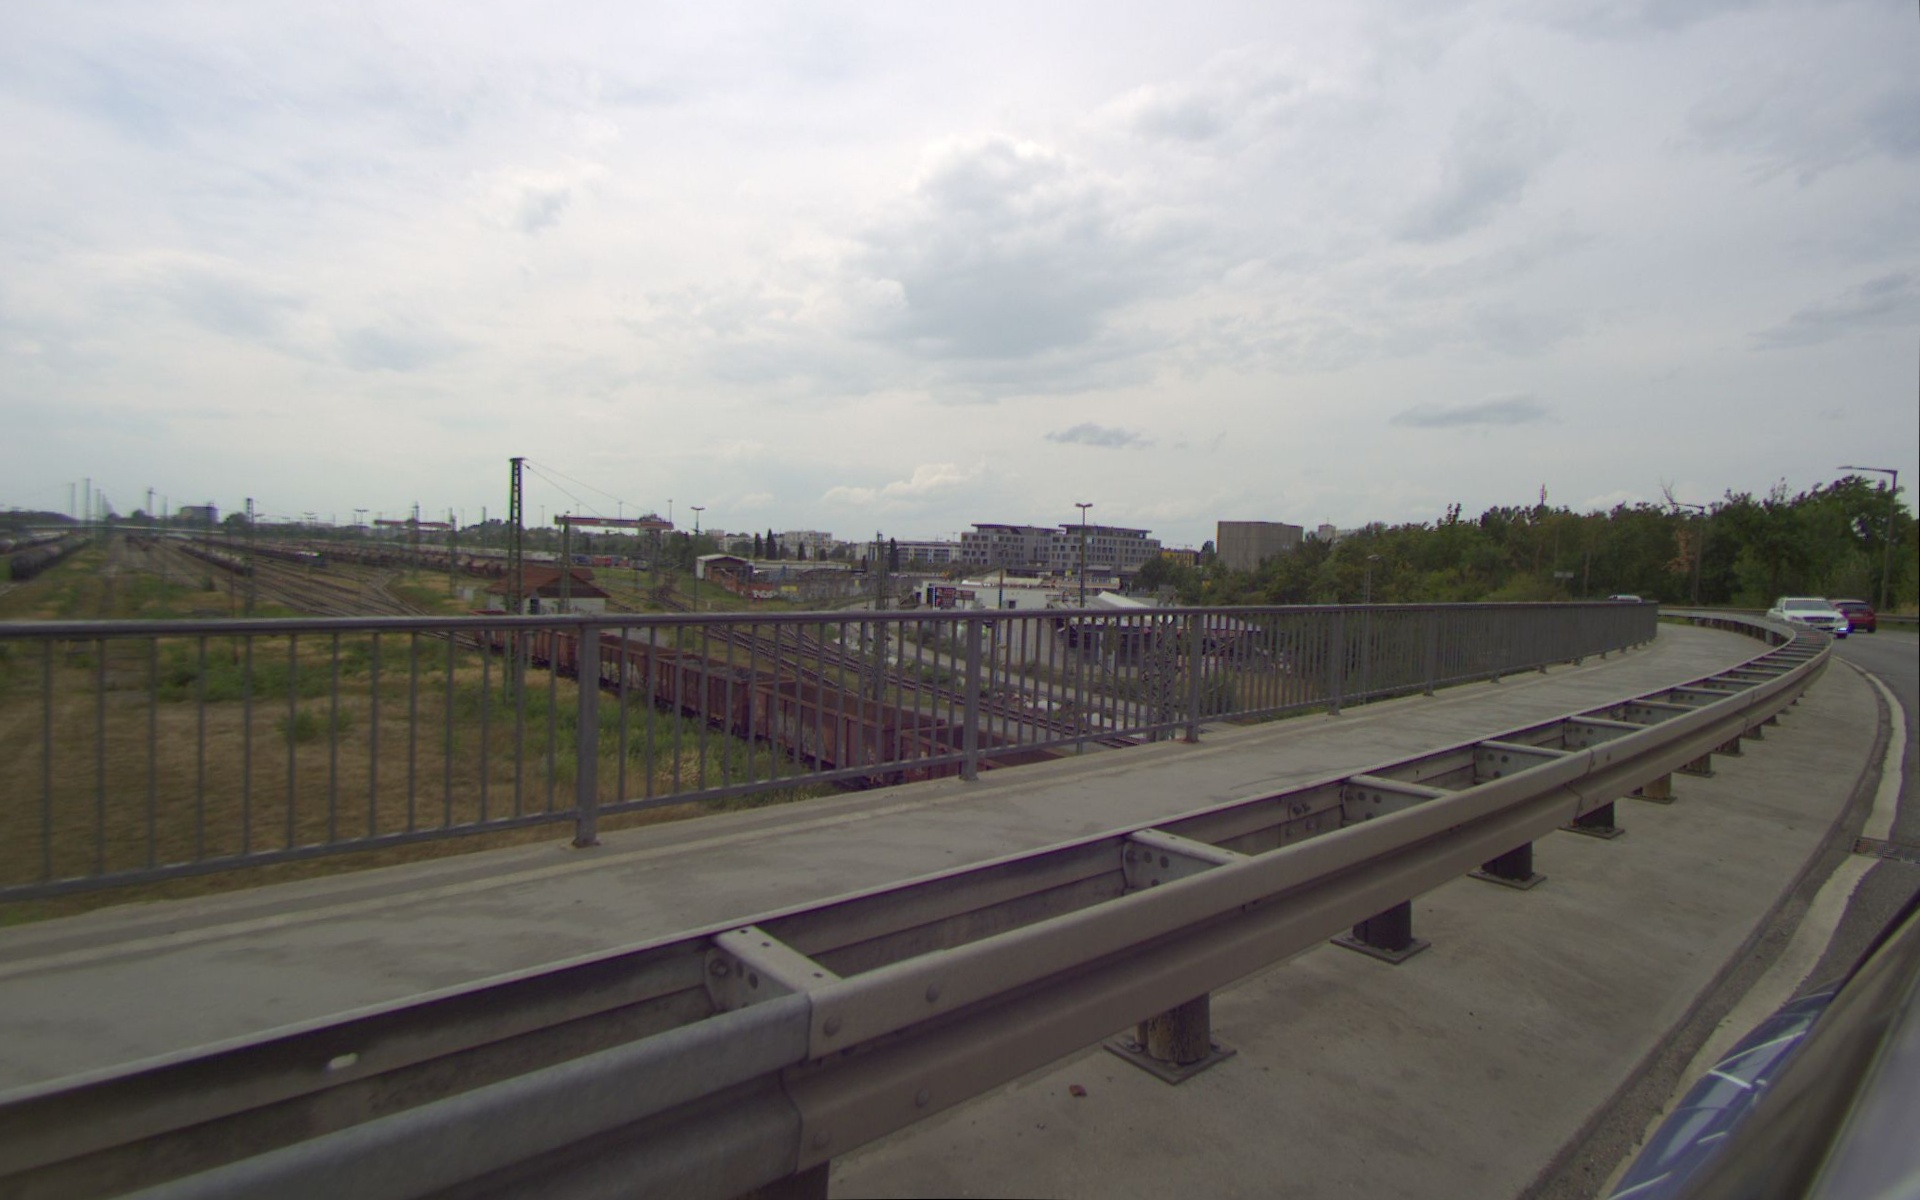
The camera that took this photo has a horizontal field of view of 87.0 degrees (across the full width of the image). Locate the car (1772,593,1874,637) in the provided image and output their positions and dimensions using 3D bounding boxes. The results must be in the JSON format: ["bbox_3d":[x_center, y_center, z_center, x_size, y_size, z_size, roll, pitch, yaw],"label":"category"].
[{"bbox_3d":[31.257,0.528,36.786,1.920,1.475,3.849,0,-1,27],"label":"car"}]

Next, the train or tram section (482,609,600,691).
[{"bbox_3d":[-35.109,3.838,83.922,3.890,5.713,18.254,0,1,-40],"label":"train or tram section"}]

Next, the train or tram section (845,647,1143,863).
[{"bbox_3d":[0.542,4.937,36.899,3.582,5.644,13.656,0,1,-34],"label":"train or tram section"}]

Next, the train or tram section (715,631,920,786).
[{"bbox_3d":[-7.263,4.657,48.166,3.589,5.669,14.259,0,1,-35],"label":"train or tram section"}]

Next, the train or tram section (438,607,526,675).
[{"bbox_3d":[-45.836,3.656,96.598,3.737,5.695,15.541,0,1,-41],"label":"train or tram section"}]

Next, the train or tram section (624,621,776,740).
[{"bbox_3d":[-15.635,4.327,59.552,3.772,5.749,13.904,0,1,-37],"label":"train or tram section"}]

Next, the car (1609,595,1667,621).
[{"bbox_3d":[45.308,0.539,67.719,1.936,1.726,4.409,0,-1,16],"label":"car"}]

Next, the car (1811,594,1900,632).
[{"bbox_3d":[39.235,0.534,44.452,1.745,1.510,3.968,0,1,23],"label":"car"}]

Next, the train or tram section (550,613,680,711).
[{"bbox_3d":[-24.502,4.029,70.974,3.905,5.748,15.003,0,1,-38],"label":"train or tram section"}]
